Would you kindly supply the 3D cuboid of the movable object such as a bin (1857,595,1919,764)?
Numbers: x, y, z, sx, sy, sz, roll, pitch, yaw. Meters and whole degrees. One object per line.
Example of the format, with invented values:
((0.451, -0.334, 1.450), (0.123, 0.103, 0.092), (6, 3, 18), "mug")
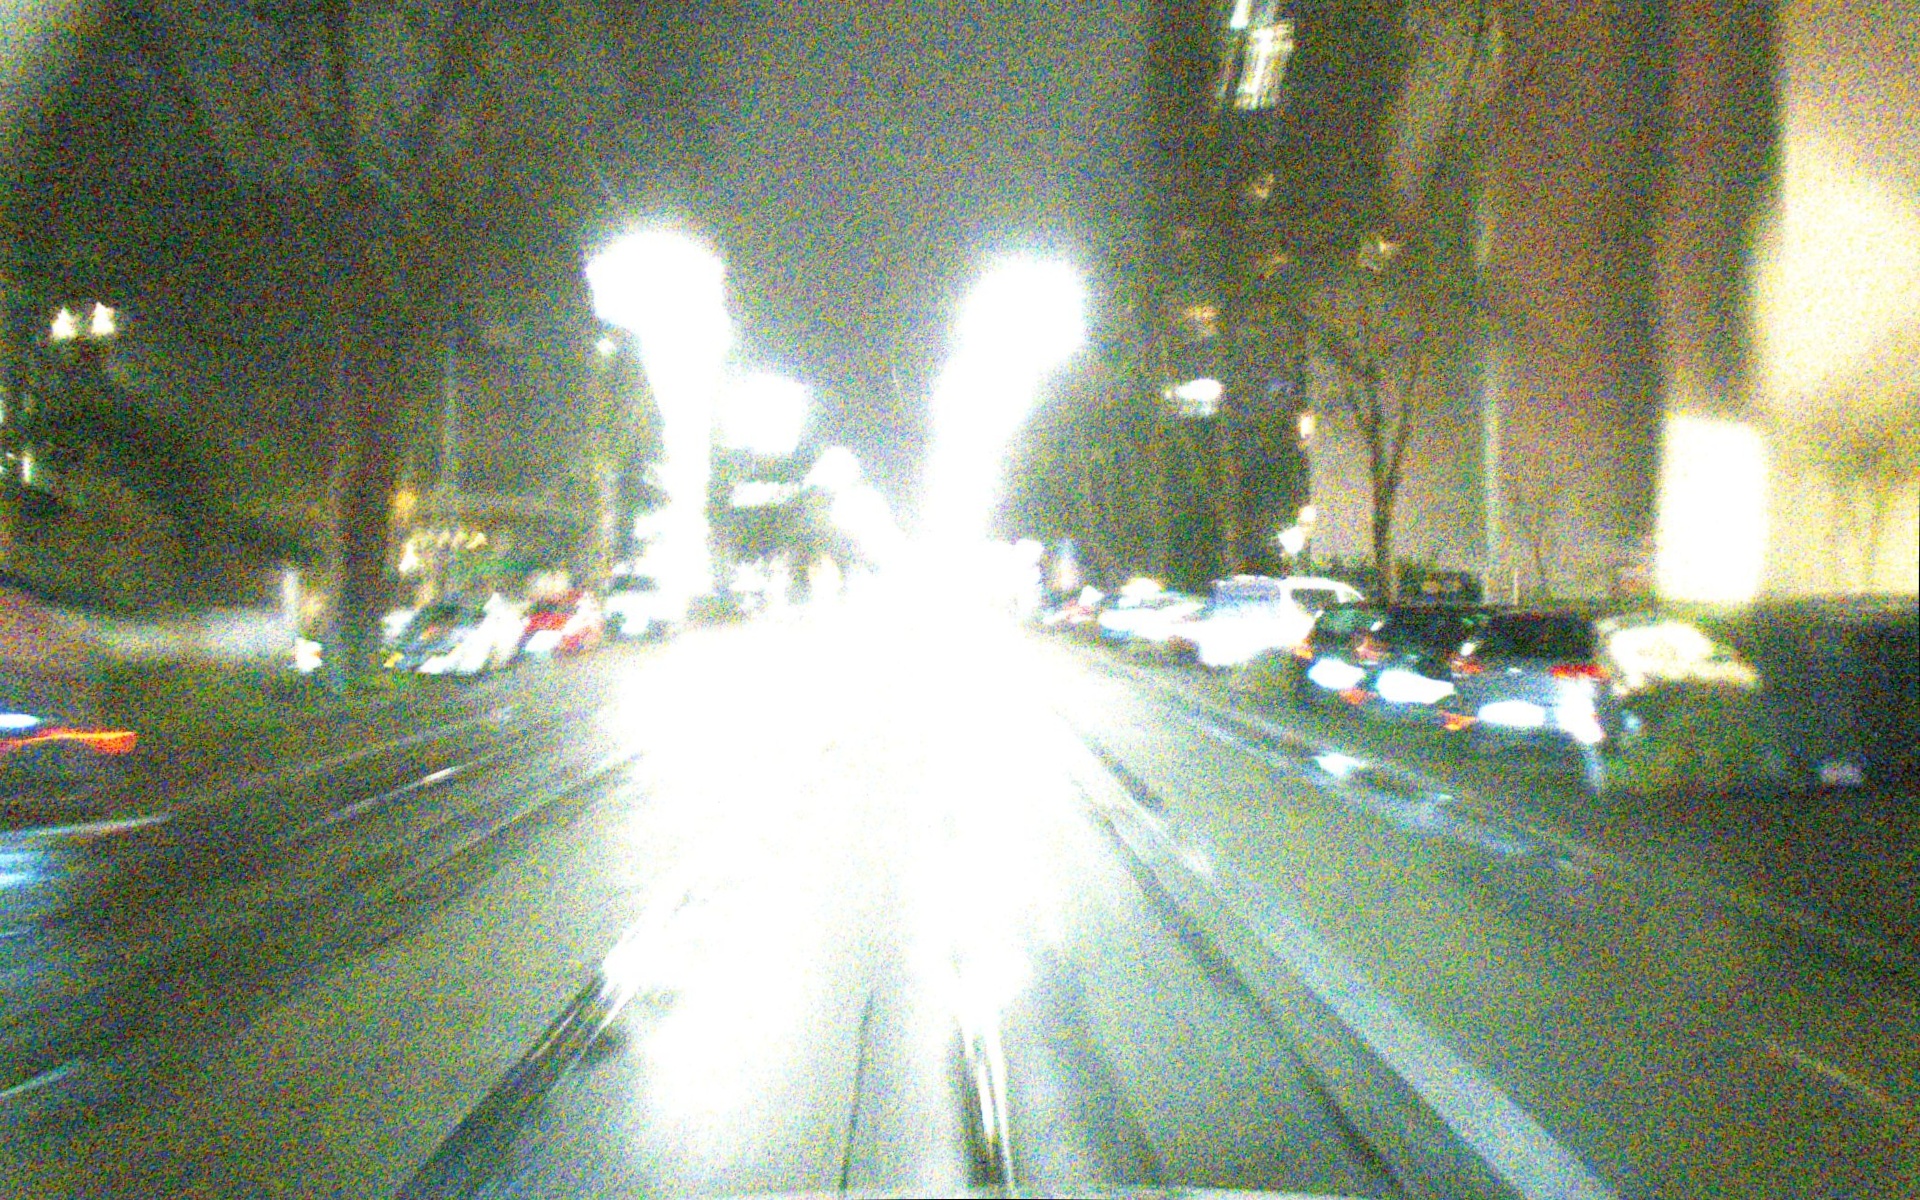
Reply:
((8.680, 0.671, 14.441), (1.002, 1.432, 1.418), (0, 0, 4), "movable object such as a bin")

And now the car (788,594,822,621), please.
((-10.666, 0.543, 114.102), (1.982, 1.791, 3.998), (2, -1, -2), "car")

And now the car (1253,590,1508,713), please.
((5.619, 0.664, 21.855), (1.573, 1.463, 3.809), (1, 0, 44), "car")

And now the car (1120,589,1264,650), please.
((6.016, 0.524, 42.636), (1.790, 1.458, 3.830), (1, 0, 43), "car")

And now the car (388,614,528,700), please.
((-9.290, 1.011, 30.873), (1.577, 1.453, 3.806), (2, -1, -3), "car")

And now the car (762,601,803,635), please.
((-10.137, 1.018, 94.733), (1.959, 1.816, 3.998), (2, -1, -1), "car")

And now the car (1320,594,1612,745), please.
((5.768, 0.698, 18.609), (1.774, 1.514, 3.834), (0, 0, 41), "car")

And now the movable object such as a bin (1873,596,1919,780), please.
((8.142, 0.681, 13.033), (1.387, 1.432, 1.020), (0, 0, -21), "movable object such as a bin")

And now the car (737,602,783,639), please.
((-10.376, 1.082, 86.110), (2.066, 1.795, 4.961), (2, -1, -4), "car")

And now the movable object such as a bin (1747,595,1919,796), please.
((6.851, 0.680, 12.495), (1.329, 1.432, 1.020), (0, 0, -21), "movable object such as a bin")

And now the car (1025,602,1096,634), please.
((5.333, 0.957, 87.753), (1.874, 1.600, 3.945), (2, 0, 37), "car")

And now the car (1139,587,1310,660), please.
((5.822, 0.456, 36.057), (1.661, 1.429, 4.434), (1, 2, 40), "car")

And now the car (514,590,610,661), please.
((-9.563, 0.579, 39.934), (1.608, 1.533, 3.617), (1, 2, -4), "car")

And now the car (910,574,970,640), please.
((-0.841, 0.262, 65.415), (2.172, 2.484, 5.381), (1, 0, -3), "car")

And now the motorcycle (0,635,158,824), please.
((-6.760, 0.912, 11.973), (0.800, 1.251, 2.001), (-5, -1, 2), "motorcycle")

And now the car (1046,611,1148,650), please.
((5.647, 1.275, 67.910), (1.919, 1.480, 4.218), (1, 0, 44), "car")

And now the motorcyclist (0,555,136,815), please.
((-6.782, 0.618, 12.009), (0.899, 1.770, 1.136), (-5, -1, 2), "motorcyclist")

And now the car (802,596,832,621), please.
((-10.847, 0.663, 125.569), (1.982, 1.791, 3.998), (2, -1, -2), "car")

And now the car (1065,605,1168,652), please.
((5.889, 1.077, 61.916), (2.018, 1.652, 3.807), (1, 0, 40), "car")

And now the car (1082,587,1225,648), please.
((5.303, 0.479, 45.122), (3.857, 1.560, 1.793), (1, 0, -43), "car")

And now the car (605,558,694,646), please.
((-9.686, 0.030, 51.991), (1.985, 2.542, 5.604), (2, 0, -4), "car")

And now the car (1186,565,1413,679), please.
((6.148, 0.405, 29.704), (4.139, 1.871, 1.932), (2, 0, -43), "car")

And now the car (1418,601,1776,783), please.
((6.142, 0.816, 15.756), (3.760, 1.483, 1.742), (2, 0, -44), "car")
